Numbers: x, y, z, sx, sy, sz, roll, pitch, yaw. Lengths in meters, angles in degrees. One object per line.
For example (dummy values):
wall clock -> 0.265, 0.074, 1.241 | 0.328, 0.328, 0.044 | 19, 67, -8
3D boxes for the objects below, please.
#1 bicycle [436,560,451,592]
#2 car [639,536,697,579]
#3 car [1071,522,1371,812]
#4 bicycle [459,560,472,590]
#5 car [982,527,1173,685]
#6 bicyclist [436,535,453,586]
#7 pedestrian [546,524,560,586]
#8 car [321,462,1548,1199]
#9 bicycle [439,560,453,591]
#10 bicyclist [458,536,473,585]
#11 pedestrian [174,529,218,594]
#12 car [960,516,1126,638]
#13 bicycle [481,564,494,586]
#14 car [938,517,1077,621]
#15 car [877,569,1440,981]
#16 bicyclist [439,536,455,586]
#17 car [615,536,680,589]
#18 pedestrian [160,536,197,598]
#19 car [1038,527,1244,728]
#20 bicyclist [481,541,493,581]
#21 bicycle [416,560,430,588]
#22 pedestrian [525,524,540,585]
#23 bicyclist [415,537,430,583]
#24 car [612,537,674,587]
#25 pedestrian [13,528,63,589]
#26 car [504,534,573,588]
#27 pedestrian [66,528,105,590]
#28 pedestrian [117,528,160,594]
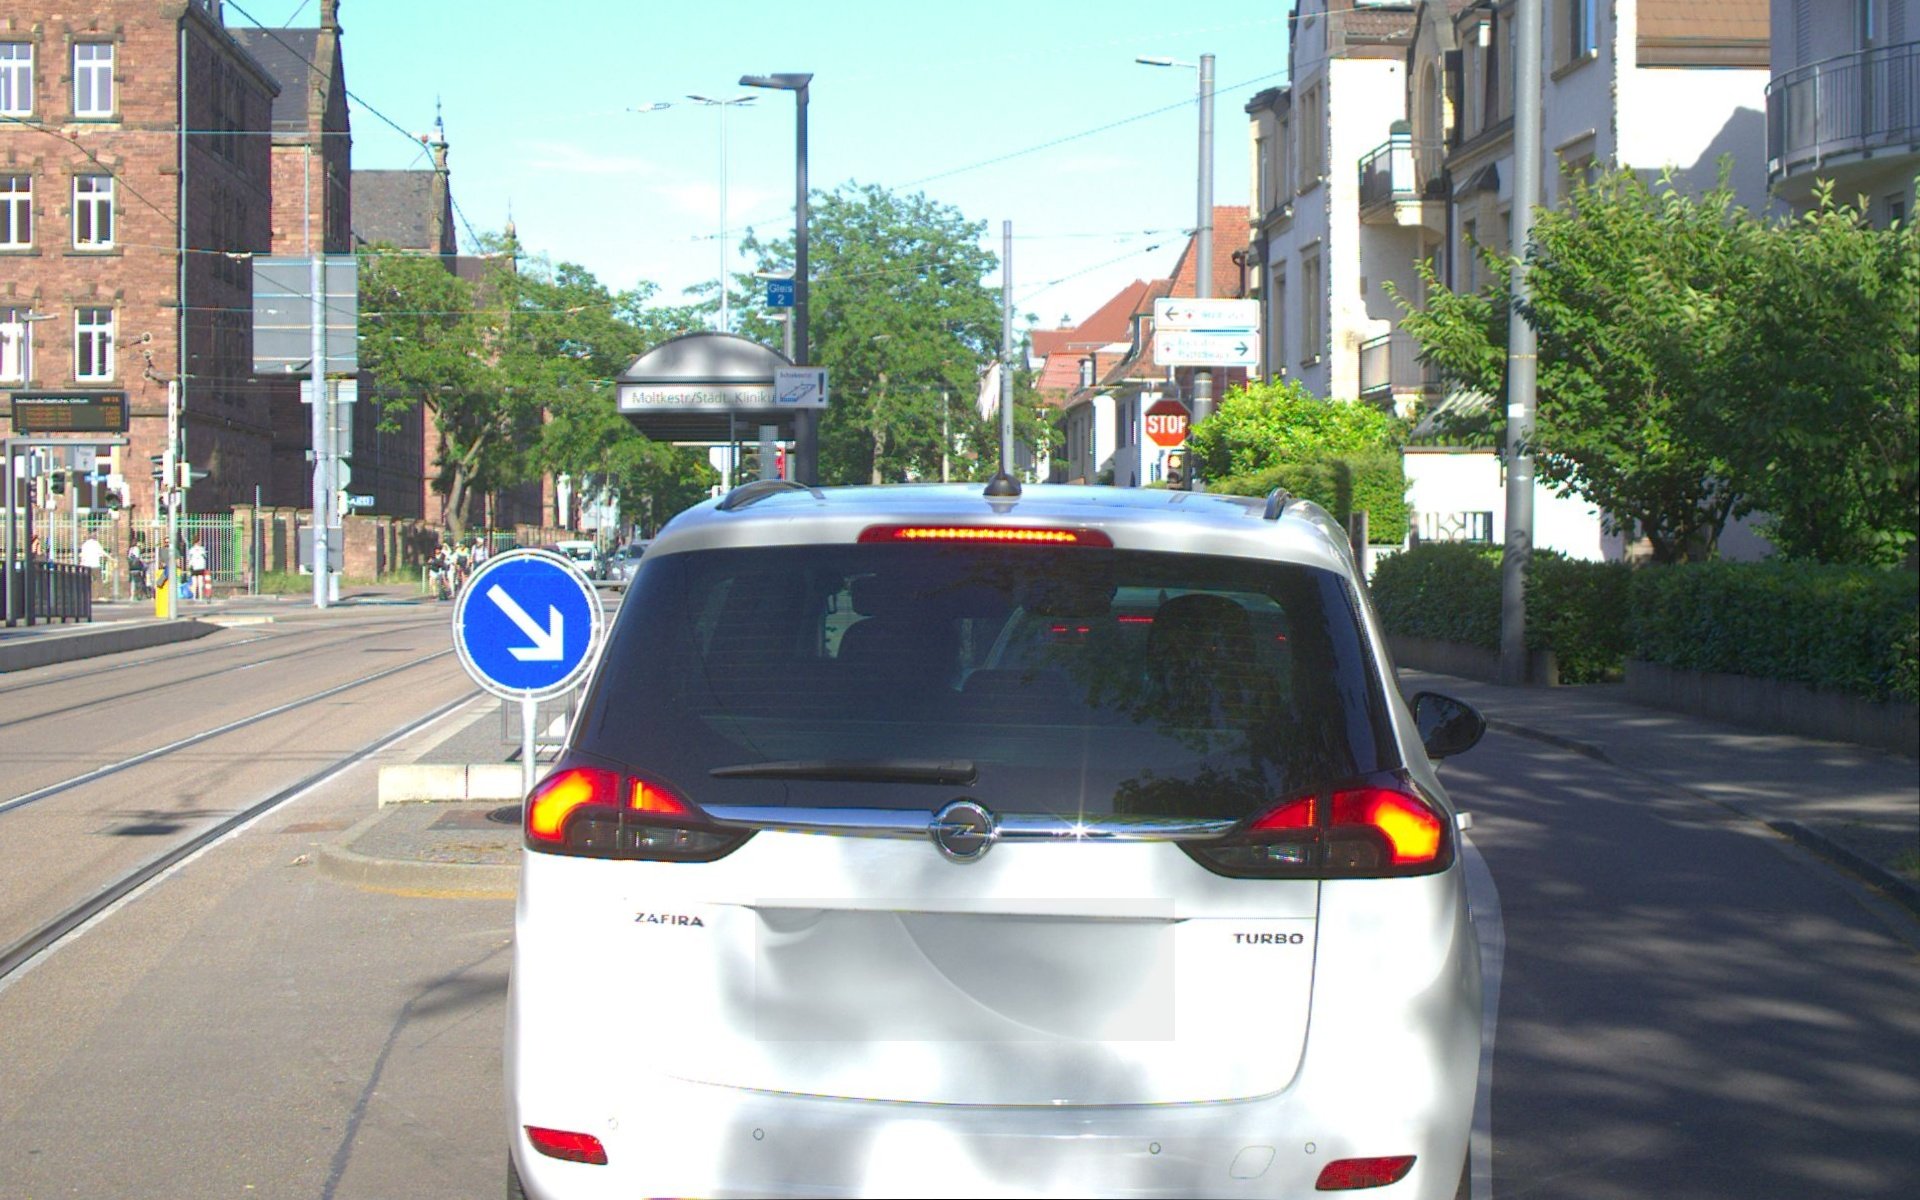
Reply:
bicycle -> -15.484, -0.718, 103.075 | 0.344, 0.946, 1.160 | 1, 0, -4
car -> -11.083, -1.619, 130.646 | 1.993, 1.623, 4.001 | 0, 1, -2
car -> 1.497, 0.333, 20.821 | 1.637, 1.595, 3.854 | 0, 1, 2
bicycle -> -15.699, -0.782, 109.157 | 0.344, 0.946, 0.997 | 1, 0, -4
car -> 1.179, 0.026, 36.173 | 1.830, 1.574, 4.010 | 0, 1, -1
bicyclist -> -15.475, -1.186, 103.275 | 0.444, 1.548, 0.743 | 0, 1, -4
pedestrian -> -13.288, -1.474, 112.249 | 0.444, 2.007, 0.496 | 0, 1, -4
car -> 0.142, 0.585, 7.595 | 1.994, 1.639, 3.992 | 1, 1, 6
bicycle -> -15.930, -0.759, 106.607 | 0.344, 0.946, 0.997 | 1, 0, -4
bicyclist -> -15.690, -1.247, 109.142 | 0.444, 1.548, 0.496 | 0, 1, -4
pedestrian -> -19.768, -0.994, 88.954 | 0.895, 1.678, 1.029 | 1, 0, -1
car -> 1.023, -0.318, 44.293 | 1.993, 1.497, 4.000 | 0, 1, -1
bicycle -> -15.352, -0.819, 111.660 | 0.344, 0.722, 0.997 | 1, 1, -4
car -> 0.669, -0.487, 51.753 | 1.993, 1.497, 4.000 | 0, 1, -1
car -> 0.750, 0.591, 13.976 | 1.953, 1.392, 4.000 | 0, 1, 2
bicyclist -> -15.894, -1.224, 106.557 | 0.444, 1.548, 0.496 | 0, 1, -4
car -> -9.737, -1.191, 107.303 | 1.993, 1.623, 4.001 | 0, 1, -5
pedestrian -> -21.676, -0.917, 95.360 | 0.735, 1.708, 0.705 | 1, 0, 22
car -> 1.498, 0.180, 29.249 | 1.637, 1.595, 3.854 | 0, 1, 2
bicyclist -> -15.351, -1.282, 111.650 | 0.359, 1.299, 0.398 | 0, 1, -4
bicycle -> -17.988, -0.874, 115.132 | 0.344, 0.946, 0.997 | 1, 0, -4
pedestrian -> -13.908, -1.480, 111.915 | 0.444, 2.007, 0.496 | 0, 1, -4
bicyclist -> -17.983, -1.339, 115.088 | 0.444, 1.548, 0.496 | 0, 1, -4
car -> -10.535, -1.274, 114.409 | 1.993, 1.623, 4.001 | 0, 1, -5
pedestrian -> -23.949, -1.076, 89.272 | 0.804, 1.583, 0.933 | 1, 1, 37
car -> -13.118, -1.228, 107.079 | 1.993, 1.623, 4.001 | 0, 1, -5
pedestrian -> -22.564, -1.052, 88.721 | 0.802, 1.583, 0.935 | 1, 0, -3
pedestrian -> -21.162, -1.002, 88.541 | 0.843, 1.686, 1.029 | 1, 0, -1
